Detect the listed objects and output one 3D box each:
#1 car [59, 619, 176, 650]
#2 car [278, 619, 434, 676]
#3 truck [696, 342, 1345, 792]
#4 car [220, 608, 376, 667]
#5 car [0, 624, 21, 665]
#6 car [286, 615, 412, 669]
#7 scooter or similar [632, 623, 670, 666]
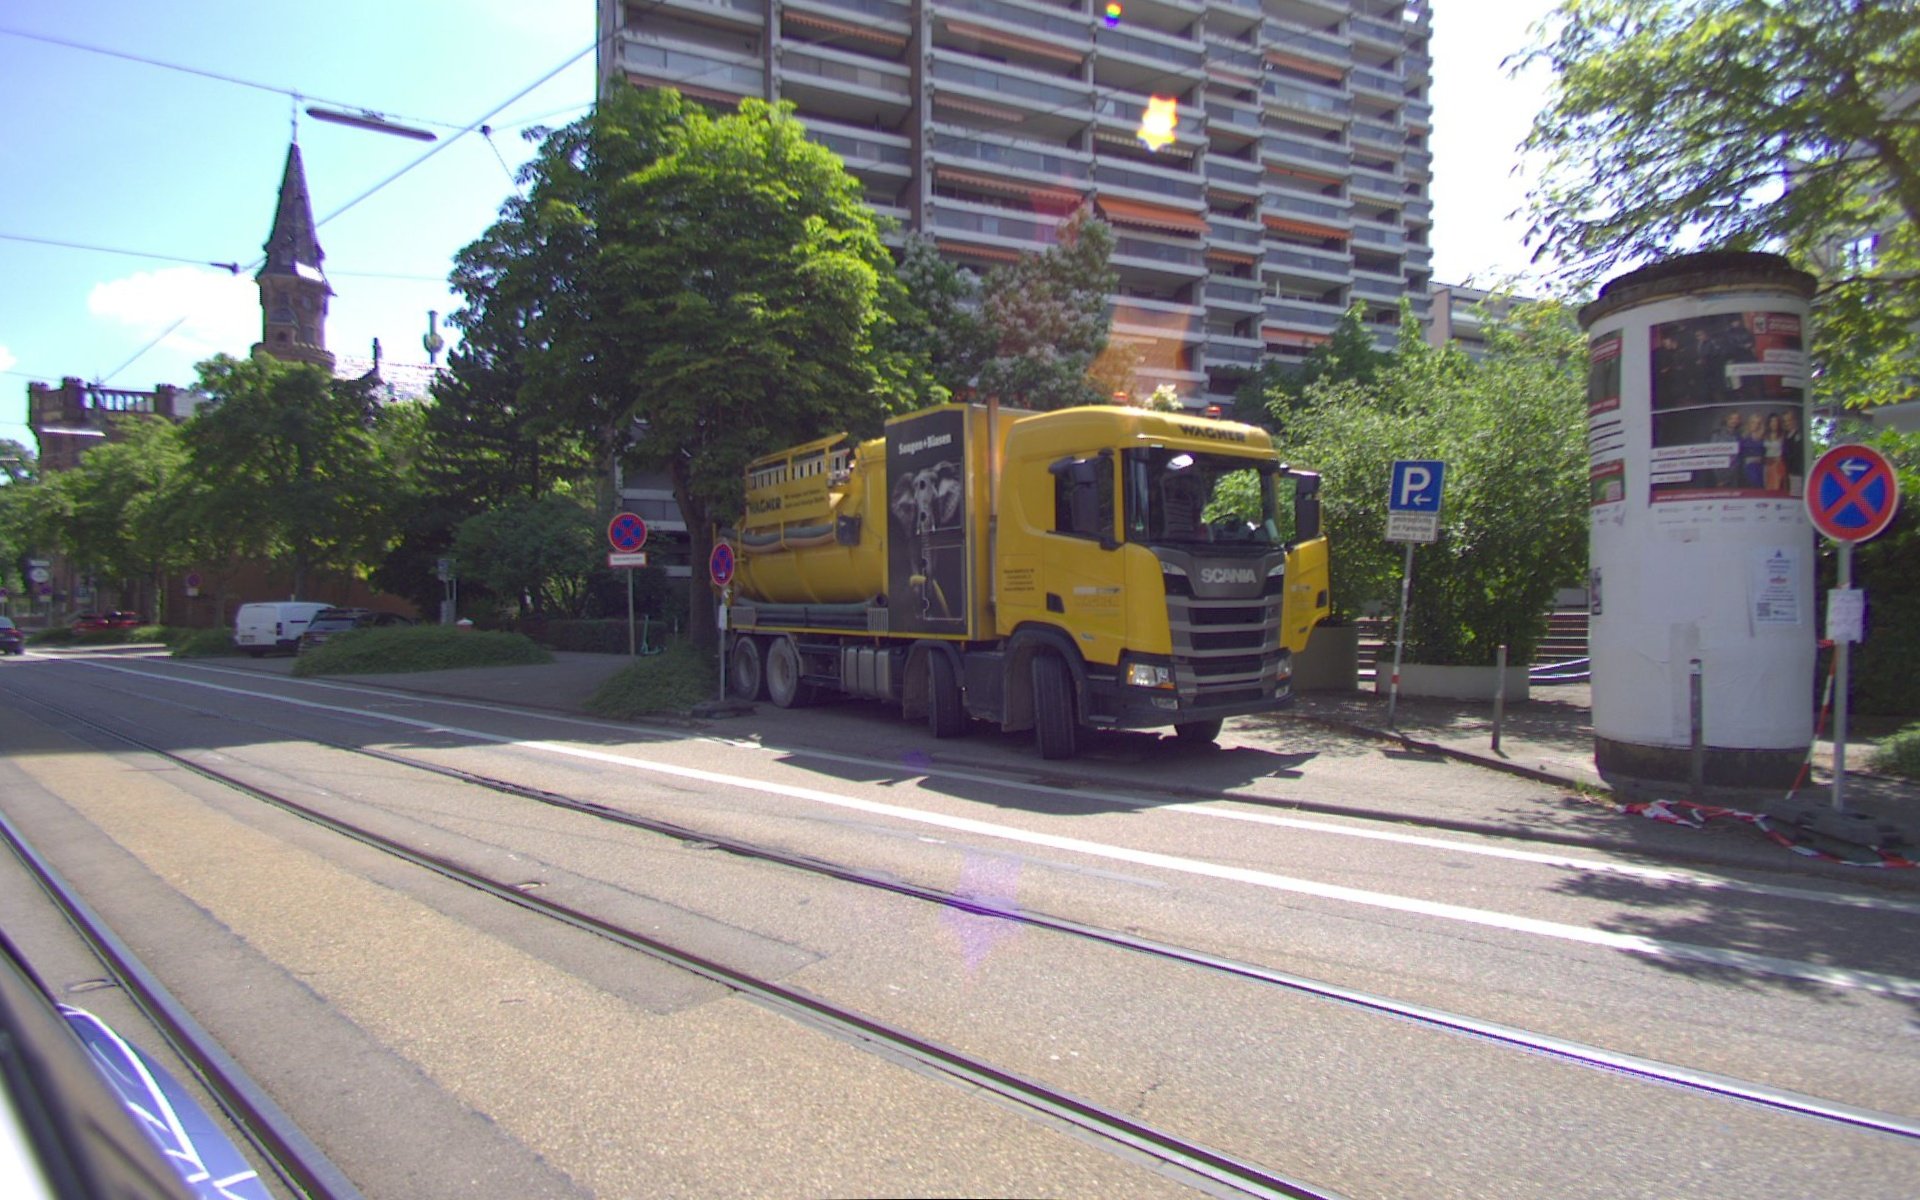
[{"bbox_3d":[-46.475,1.887,55.967,1.981,1.578,4.761,-1,-1,12],"label":"car"},{"bbox_3d":[-17.365,1.321,29.383,1.749,1.405,4.444,-1,0,2],"label":"car"},{"bbox_3d":[-0.364,-0.290,13.993,2.679,3.870,10.991,-1,1,-35],"label":"truck"},{"bbox_3d":[-22.189,1.205,34.173,1.879,1.804,4.537,-1,0,8],"label":"car"},{"bbox_3d":[-35.173,1.585,36.127,4.281,1.408,1.757,-1,-1,38],"label":"car"},{"bbox_3d":[-19.669,1.300,32.790,1.747,1.544,3.951,-1,0,-1],"label":"car"},{"bbox_3d":[-8.292,1.182,27.144,0.379,1.132,1.370,-1,0,-44],"label":"scooter or similar"}]
